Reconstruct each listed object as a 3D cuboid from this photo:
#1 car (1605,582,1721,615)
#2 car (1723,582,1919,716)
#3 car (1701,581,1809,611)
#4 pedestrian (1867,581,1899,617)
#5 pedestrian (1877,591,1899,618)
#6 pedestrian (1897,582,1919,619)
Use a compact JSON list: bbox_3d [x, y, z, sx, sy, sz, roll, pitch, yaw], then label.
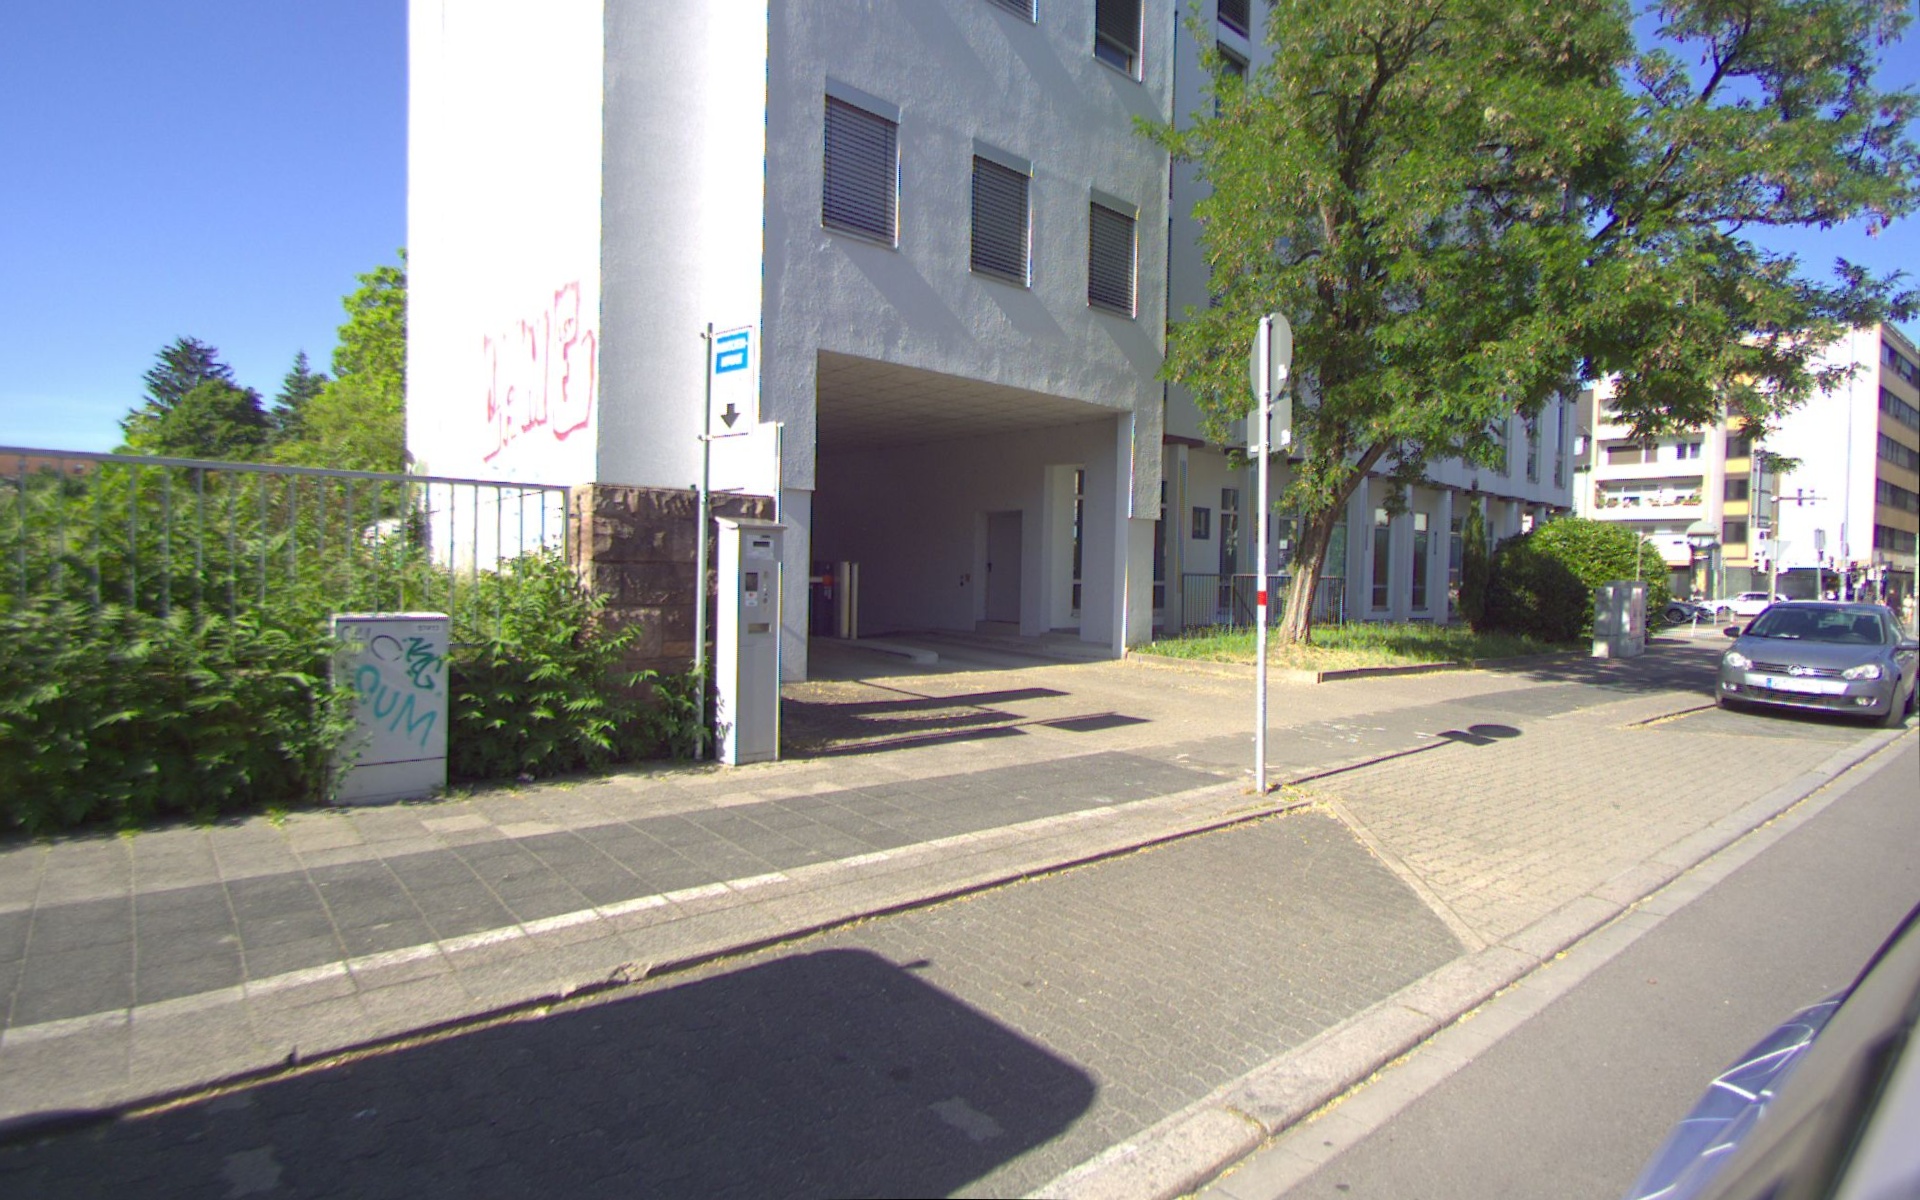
[{"bbox_3d":[32.644,-0.114,47.075,1.848,1.425,4.059,-1,2,-34],"label":"car"},{"bbox_3d":[11.686,0.603,13.402,4.081,1.466,1.641,2,1,-40],"label":"car"},{"bbox_3d":[45.834,-0.227,58.458,4.489,1.538,1.874,2,0,18],"label":"car"},{"bbox_3d":[44.548,-0.062,48.845,0.786,1.663,0.980,-1,2,15],"label":"pedestrian"},{"bbox_3d":[43.282,0.200,47.209,0.516,1.217,0.649,-3,2,-30],"label":"pedestrian"},{"bbox_3d":[43.792,0.005,46.508,0.707,1.642,0.899,-3,2,-30],"label":"pedestrian"}]
